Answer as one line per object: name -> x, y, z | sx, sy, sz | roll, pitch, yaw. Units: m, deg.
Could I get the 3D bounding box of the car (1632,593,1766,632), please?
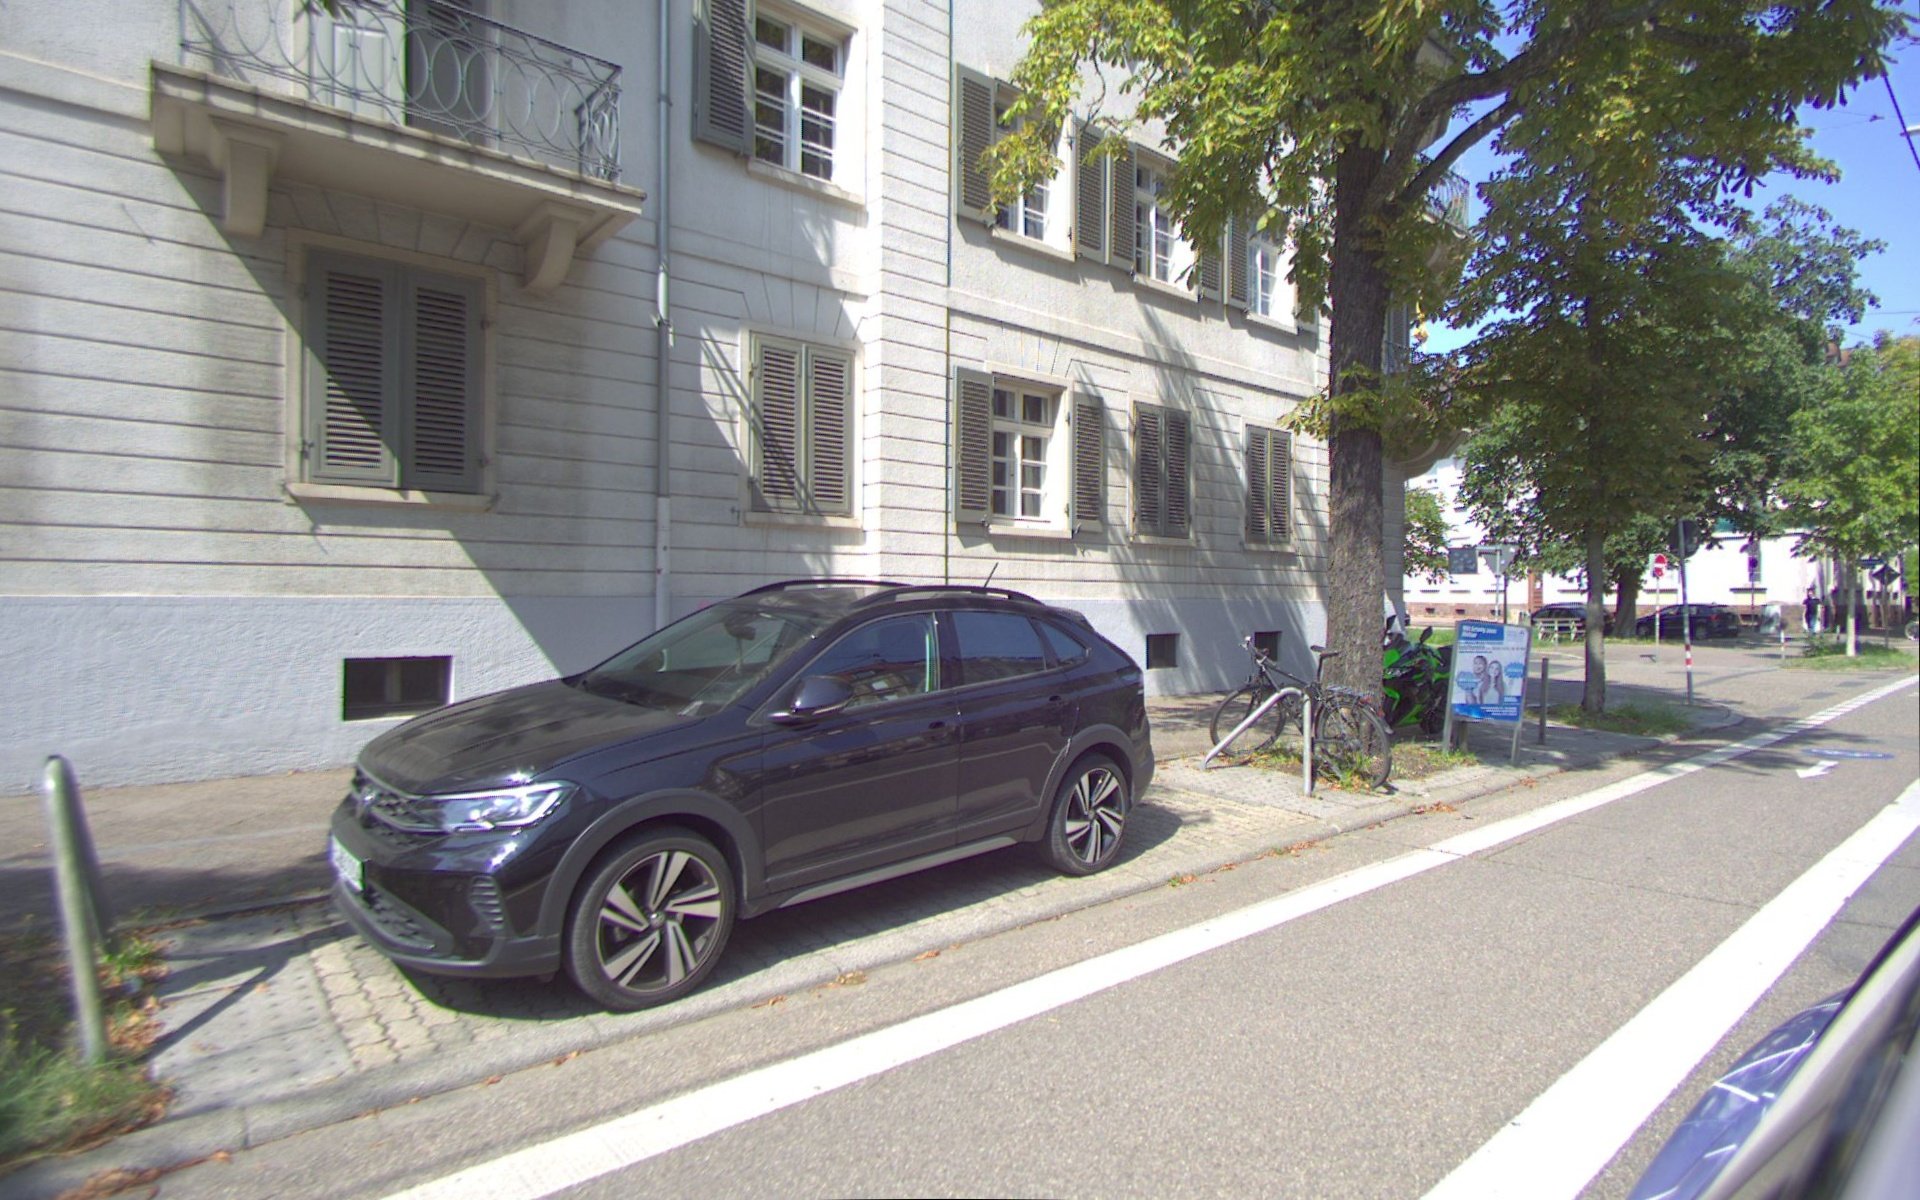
car -> 29.674, 0.482, 40.795 | 1.933, 1.461, 4.008 | 0, 0, -17

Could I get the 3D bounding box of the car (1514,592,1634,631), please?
car -> 24.325, 0.430, 40.286 | 1.799, 1.448, 4.008 | 0, 0, -13

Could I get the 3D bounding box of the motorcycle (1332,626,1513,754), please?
motorcycle -> 4.858, 0.866, 10.522 | 2.455, 1.125, 0.828 | 0, 0, -43

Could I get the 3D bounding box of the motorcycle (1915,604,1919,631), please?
motorcycle -> 36.385, 0.669, 37.038 | 0.782, 1.028, 1.999 | 0, 1, -40

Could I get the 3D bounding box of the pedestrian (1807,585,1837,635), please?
pedestrian -> 31.694, 0.365, 37.221 | 0.621, 1.808, 0.749 | 1, 0, -39

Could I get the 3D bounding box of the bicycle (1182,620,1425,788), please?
bicycle -> 2.677, 0.754, 8.058 | 0.644, 1.137, 1.758 | 0, 0, -40

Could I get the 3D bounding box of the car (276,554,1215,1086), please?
car -> -0.639, 0.611, 5.031 | 4.361, 1.526, 1.664 | 0, 1, -44

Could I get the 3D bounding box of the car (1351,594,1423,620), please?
car -> 24.935, 0.379, 59.235 | 1.934, 1.457, 4.008 | 0, 0, -13
